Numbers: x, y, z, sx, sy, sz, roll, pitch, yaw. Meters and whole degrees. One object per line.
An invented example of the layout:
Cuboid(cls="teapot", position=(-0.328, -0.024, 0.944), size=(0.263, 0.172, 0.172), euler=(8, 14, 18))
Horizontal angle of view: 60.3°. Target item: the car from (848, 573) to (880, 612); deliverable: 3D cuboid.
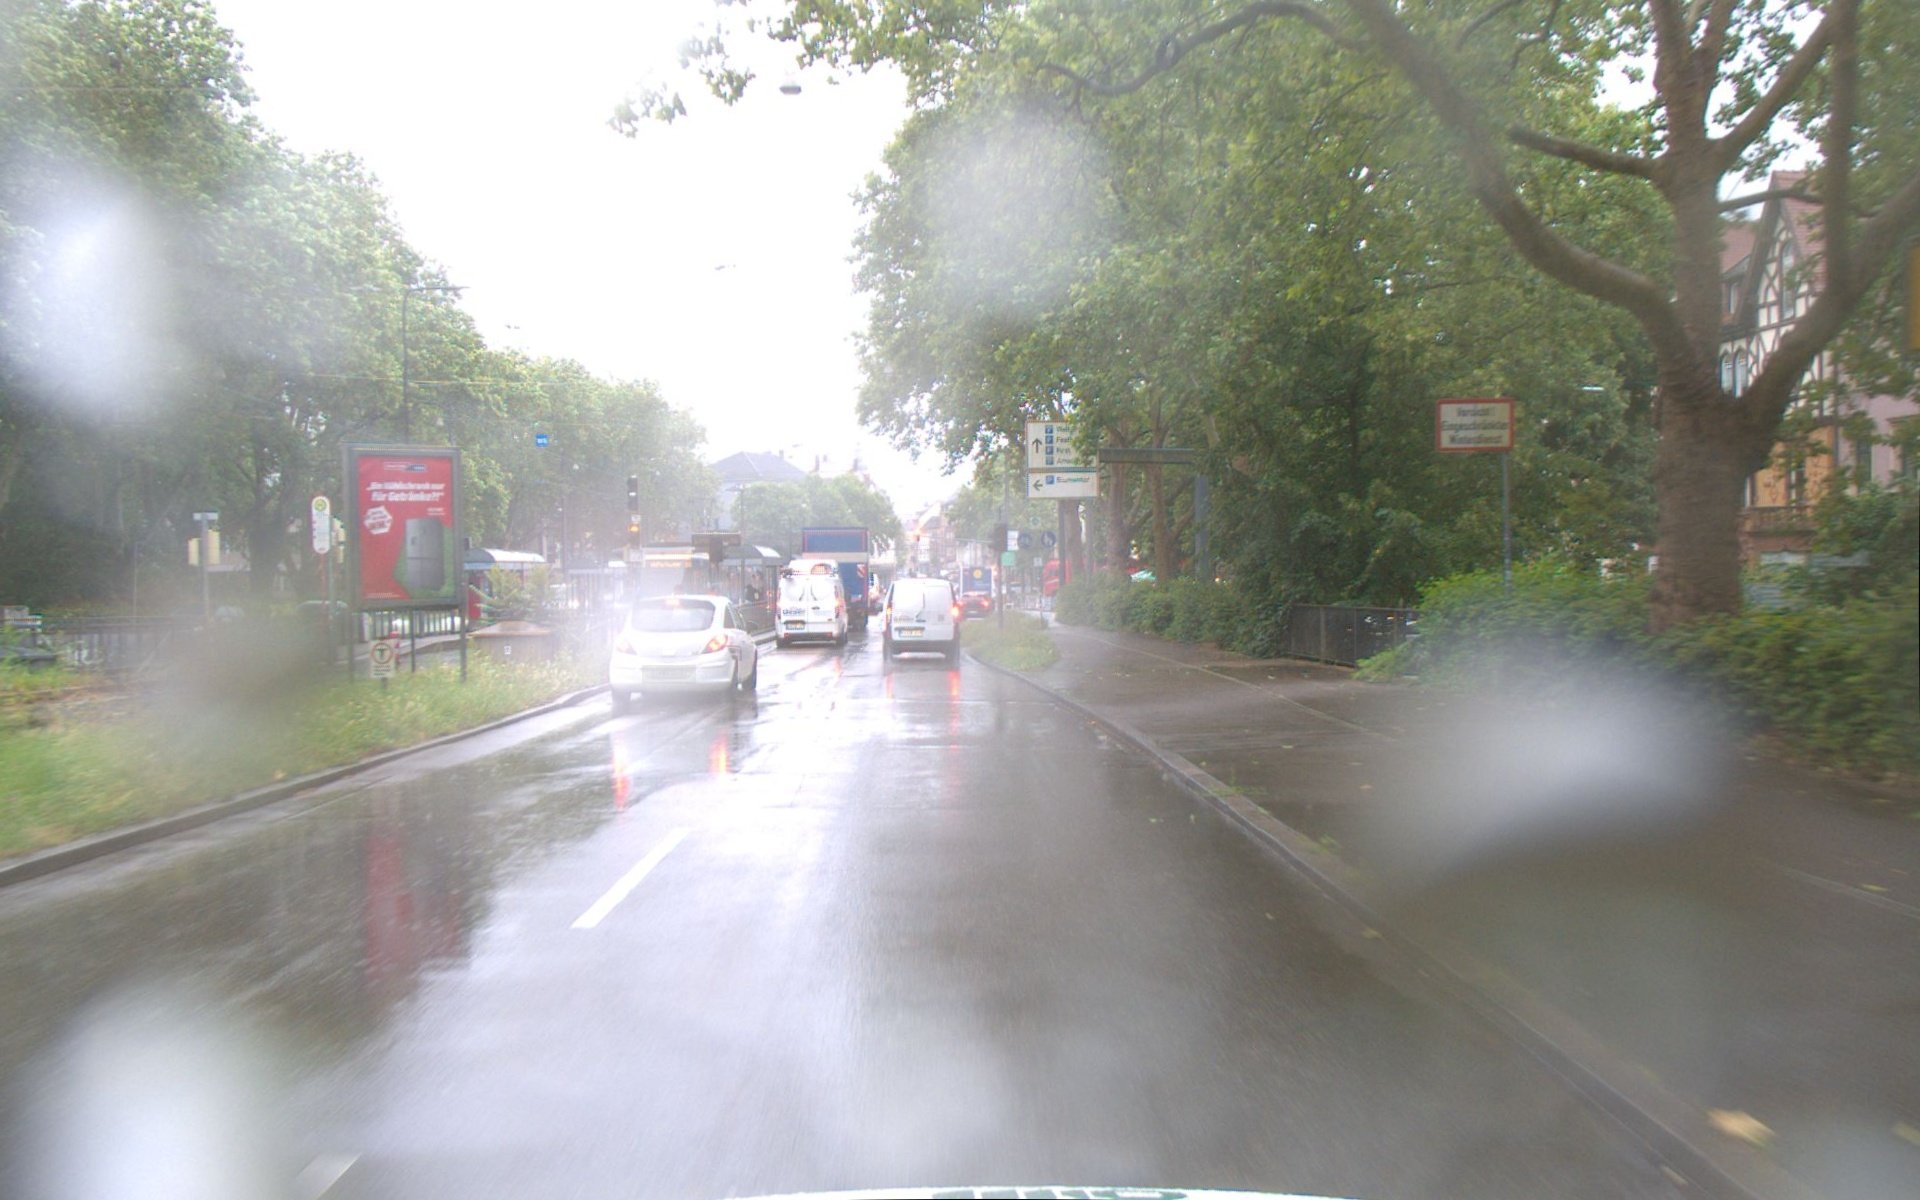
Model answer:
Cuboid(cls="car", position=(-6.301, -0.491, 108.865), size=(1.953, 2.485, 4.610), euler=(1, 0, -2))

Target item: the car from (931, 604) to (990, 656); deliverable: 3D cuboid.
Cuboid(cls="car", position=(0.021, 0.976, 54.315), size=(1.869, 1.646, 3.999), euler=(0, -1, 0))

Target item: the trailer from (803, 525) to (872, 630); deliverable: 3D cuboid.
Cuboid(cls="trailer", position=(-4.824, -0.884, 66.241), size=(2.538, 3.968, 7.632), euler=(0, 0, -3))

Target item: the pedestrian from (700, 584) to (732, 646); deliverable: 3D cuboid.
Cuboid(cls="pedestrian", position=(-6.984, 0.442, 47.323), size=(0.774, 1.744, 0.770), euler=(1, -1, -3))

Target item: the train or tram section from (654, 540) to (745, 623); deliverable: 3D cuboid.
Cuboid(cls="train or tram section", position=(-11.376, -0.858, 73.053), size=(2.919, 3.342, 8.427), euler=(-2, 1, -3))

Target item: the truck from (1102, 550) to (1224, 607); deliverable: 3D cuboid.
Cuboid(cls="truck", position=(19.171, -2.065, 156.260), size=(11.121, 4.985, 3.292), euler=(-2, 1, 8))

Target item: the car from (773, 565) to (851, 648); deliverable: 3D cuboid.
Cuboid(cls="car", position=(-4.296, 0.200, 48.621), size=(1.953, 2.302, 5.286), euler=(0, -1, -2))

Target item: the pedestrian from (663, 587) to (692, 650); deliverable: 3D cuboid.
Cuboid(cls="pedestrian", position=(-7.987, 0.517, 46.829), size=(0.701, 1.775, 0.750), euler=(0, 0, -2))

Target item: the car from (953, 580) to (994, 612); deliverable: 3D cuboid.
Cuboid(cls="car", position=(0.706, -0.212, 84.231), size=(1.952, 1.569, 4.001), euler=(-1, 0, 2))

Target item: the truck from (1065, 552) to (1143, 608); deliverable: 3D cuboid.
Cuboid(cls="truck", position=(13.708, -1.908, 157.033), size=(7.005, 4.985, 3.292), euler=(-2, 1, 8))

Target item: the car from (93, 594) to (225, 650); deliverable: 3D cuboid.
Cuboid(cls="car", position=(-23.488, 0.612, 48.673), size=(1.953, 1.544, 3.999), euler=(-2, 0, -1))

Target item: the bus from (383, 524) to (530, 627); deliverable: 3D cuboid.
Cuboid(cls="bus", position=(-20.942, -0.917, 69.677), size=(2.969, 3.906, 12.238), euler=(1, 0, -3))

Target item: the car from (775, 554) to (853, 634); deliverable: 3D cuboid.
Cuboid(cls="car", position=(-4.972, -0.171, 57.073), size=(2.282, 2.602, 6.112), euler=(0, -1, -2))

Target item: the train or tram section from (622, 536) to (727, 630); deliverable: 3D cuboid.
Cuboid(cls="train or tram section", position=(-11.012, -0.693, 64.662), size=(2.902, 3.342, 8.357), euler=(-2, 1, -3))

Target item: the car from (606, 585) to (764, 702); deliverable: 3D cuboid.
Cuboid(cls="car", position=(-3.766, 0.585, 23.240), size=(1.690, 1.505, 3.804), euler=(0, -1, -2))

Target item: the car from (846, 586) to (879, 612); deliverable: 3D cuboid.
Cuboid(cls="car", position=(-6.078, -0.061, 103.350), size=(1.953, 1.606, 4.290), euler=(1, 0, -2))

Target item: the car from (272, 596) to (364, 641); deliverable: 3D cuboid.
Cuboid(cls="car", position=(-23.909, 0.658, 61.755), size=(1.895, 1.544, 3.999), euler=(-2, 0, -1))

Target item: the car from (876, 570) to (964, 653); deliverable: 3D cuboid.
Cuboid(cls="car", position=(-0.935, 0.270, 37.966), size=(1.919, 1.808, 3.568), euler=(0, -1, -2))

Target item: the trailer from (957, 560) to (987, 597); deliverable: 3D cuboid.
Cuboid(cls="trailer", position=(0.788, -1.376, 107.861), size=(1.952, 2.357, 4.668), euler=(0, -1, 0))
